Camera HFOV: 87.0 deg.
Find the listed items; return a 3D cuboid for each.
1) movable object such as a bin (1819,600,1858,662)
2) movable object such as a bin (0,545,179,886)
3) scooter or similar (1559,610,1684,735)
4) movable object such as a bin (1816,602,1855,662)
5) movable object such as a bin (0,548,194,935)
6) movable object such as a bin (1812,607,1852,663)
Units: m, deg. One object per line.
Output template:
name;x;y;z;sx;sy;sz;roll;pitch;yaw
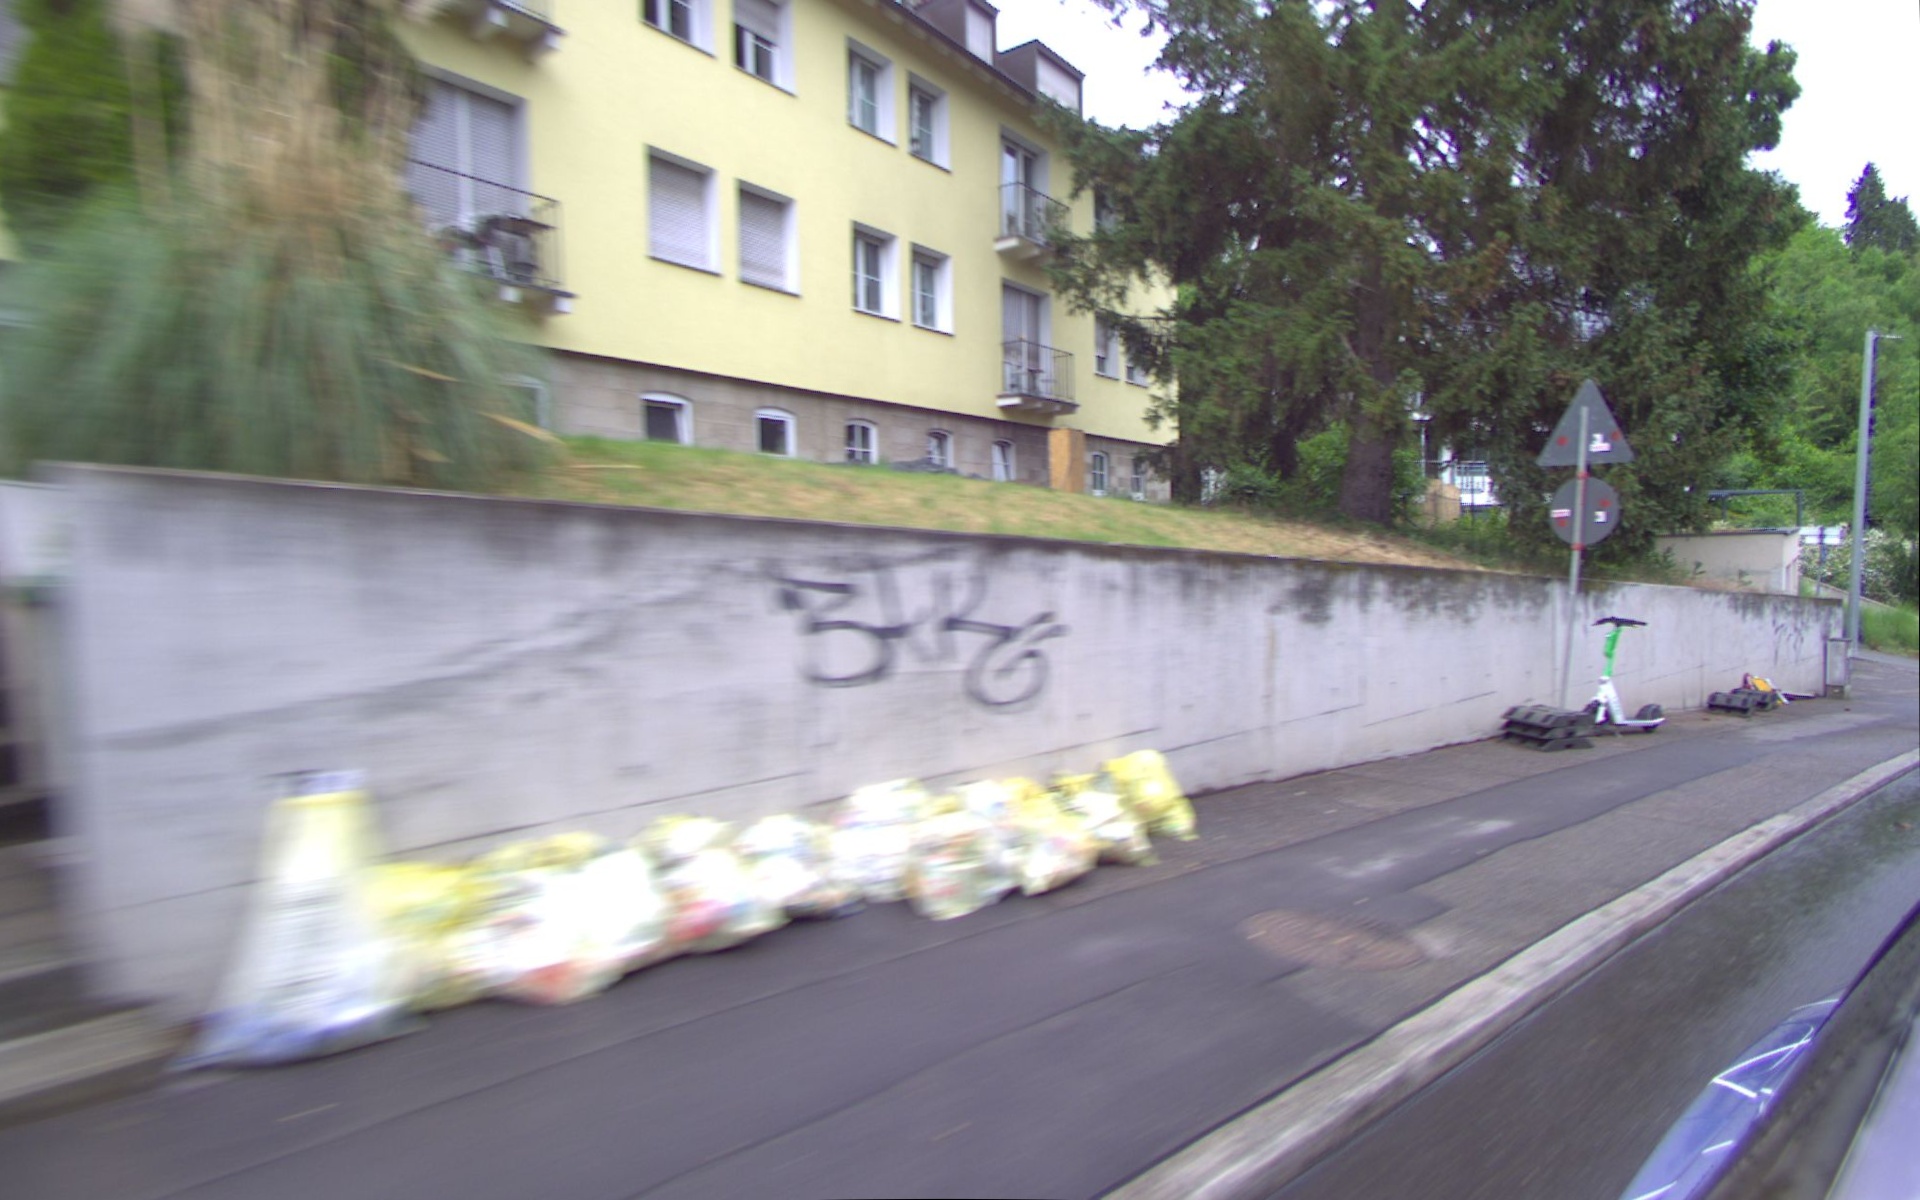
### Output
movable object such as a bin;20.006;0.695;23.045;0.455;1.367;0.554;1;2;-42
movable object such as a bin;-3.122;0.368;3.585;0.511;1.105;0.479;1;2;-42
scooter or similar;6.647;0.689;10.151;1.345;1.147;0.599;1;2;-38
movable object such as a bin;19.639;0.708;22.712;0.445;1.283;0.564;1;2;-42
movable object such as a bin;-2.764;0.399;3.204;0.484;1.105;0.482;1;2;-42
movable object such as a bin;19.272;0.772;22.377;0.436;1.190;0.574;1;2;-42
